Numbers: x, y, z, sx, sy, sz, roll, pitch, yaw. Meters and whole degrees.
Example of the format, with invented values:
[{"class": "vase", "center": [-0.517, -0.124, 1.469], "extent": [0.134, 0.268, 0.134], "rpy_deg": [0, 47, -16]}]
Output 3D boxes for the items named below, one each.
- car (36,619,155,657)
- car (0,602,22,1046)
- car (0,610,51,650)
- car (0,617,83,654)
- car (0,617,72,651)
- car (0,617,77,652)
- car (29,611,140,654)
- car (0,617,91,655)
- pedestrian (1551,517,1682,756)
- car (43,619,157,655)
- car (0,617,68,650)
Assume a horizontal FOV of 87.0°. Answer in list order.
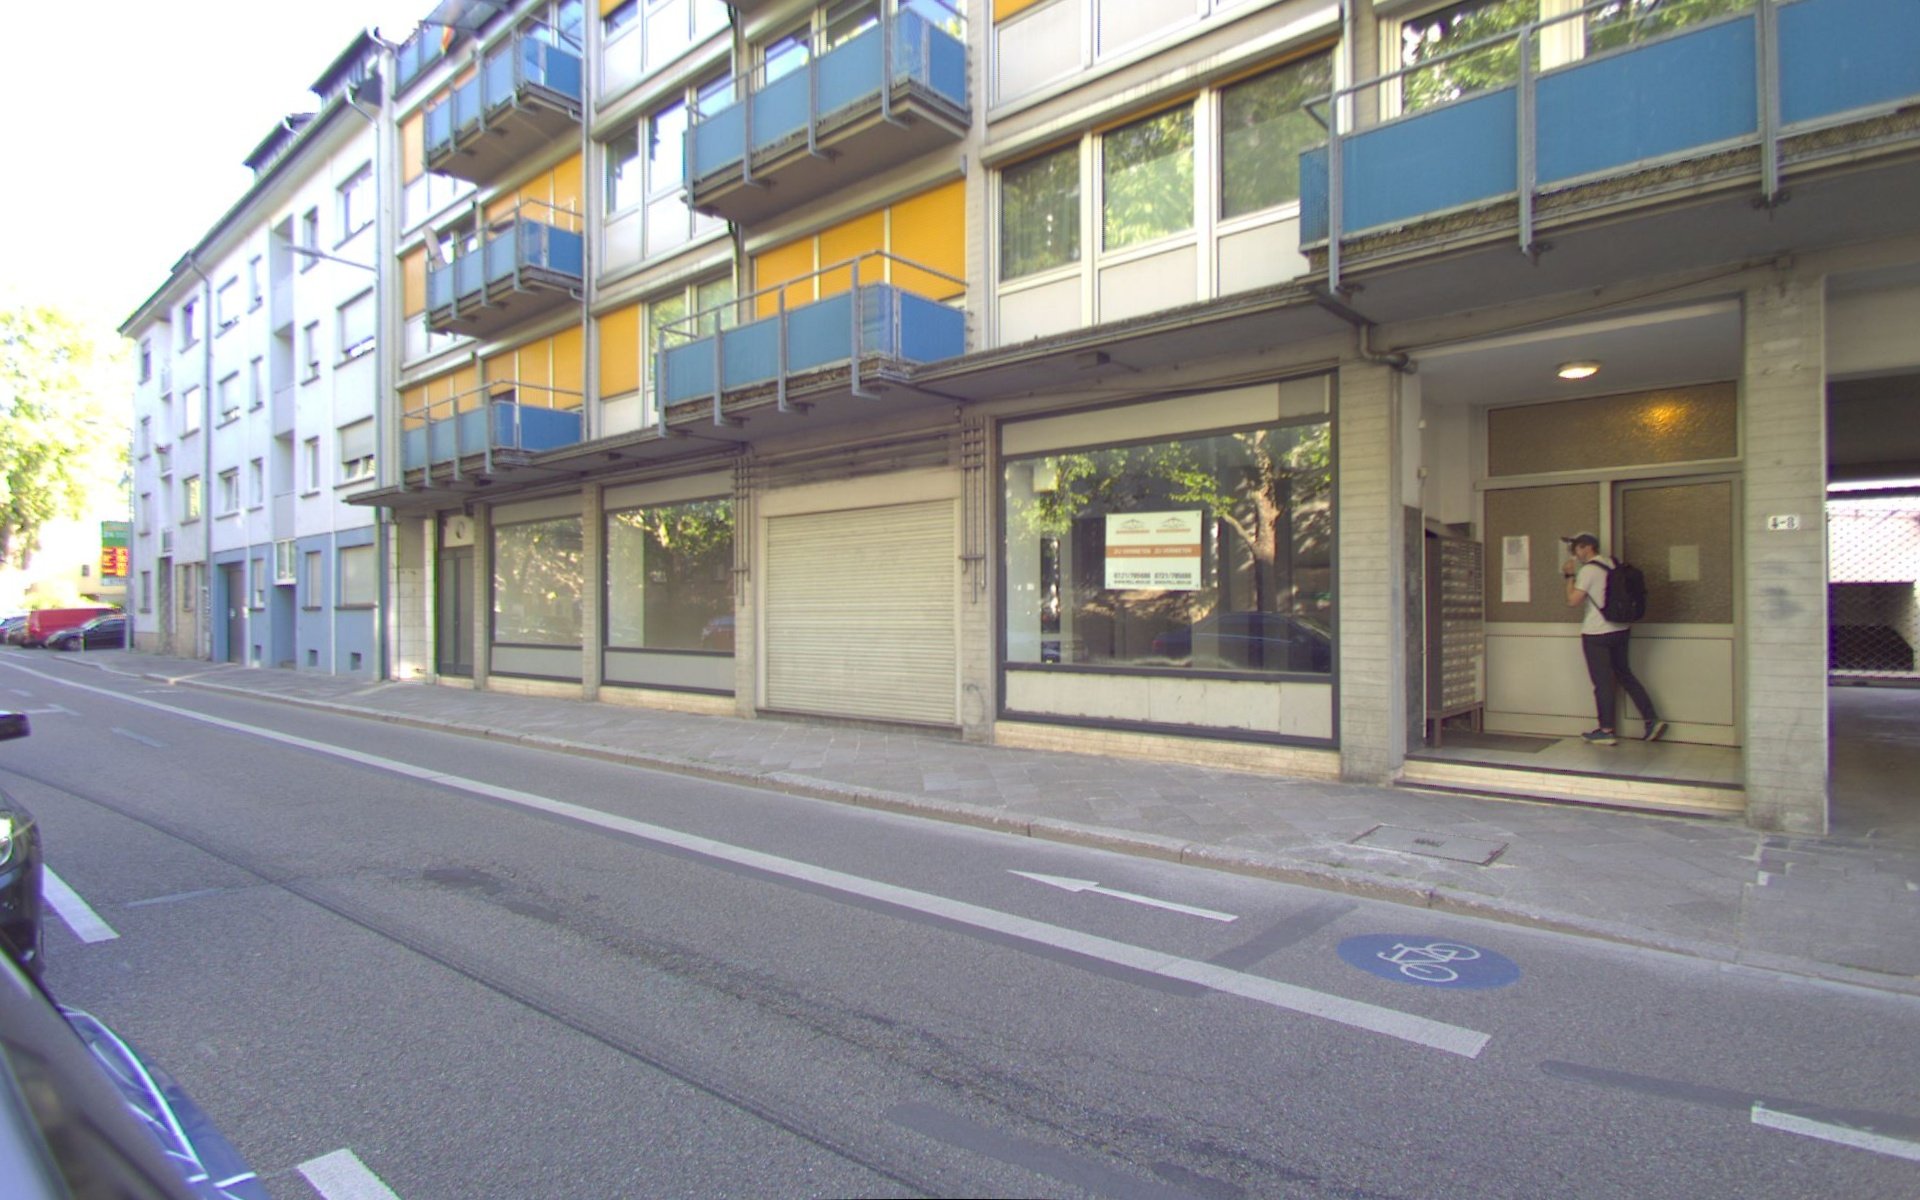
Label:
[{"class": "car", "center": [-39.755, 1.722, 46.608], "extent": [2.000, 1.564, 3.944], "rpy_deg": [-1, 0, 42]}, {"class": "car", "center": [-5.524, 0.805, 4.280], "extent": [4.479, 1.512, 1.842], "rpy_deg": [-1, -1, 41]}, {"class": "car", "center": [-62.796, 1.954, 66.790], "extent": [2.000, 2.538, 3.944], "rpy_deg": [-1, 0, 42]}, {"class": "car", "center": [-53.518, 2.033, 58.616], "extent": [2.000, 1.962, 3.944], "rpy_deg": [-1, 0, 42]}, {"class": "car", "center": [-57.405, 2.084, 62.287], "extent": [2.000, 1.962, 3.944], "rpy_deg": [-1, 0, 42]}, {"class": "car", "center": [-55.599, 2.060, 60.569], "extent": [2.000, 1.962, 3.944], "rpy_deg": [-1, 0, 42]}, {"class": "car", "center": [-43.429, 1.570, 50.255], "extent": [2.000, 1.962, 3.944], "rpy_deg": [-1, 0, 42]}, {"class": "car", "center": [-51.568, 2.008, 56.833], "extent": [2.000, 1.962, 3.944], "rpy_deg": [-1, 0, 42]}, {"class": "pedestrian", "center": [5.458, 0.292, 8.452], "extent": [0.781, 1.894, 0.578], "rpy_deg": [-1, 0, 21]}, {"class": "car", "center": [-41.174, 1.741, 48.530], "extent": [2.000, 1.564, 3.944], "rpy_deg": [-1, 0, 42]}, {"class": "car", "center": [-59.204, 2.107, 64.020], "extent": [2.000, 1.962, 3.944], "rpy_deg": [-1, 0, 42]}]
